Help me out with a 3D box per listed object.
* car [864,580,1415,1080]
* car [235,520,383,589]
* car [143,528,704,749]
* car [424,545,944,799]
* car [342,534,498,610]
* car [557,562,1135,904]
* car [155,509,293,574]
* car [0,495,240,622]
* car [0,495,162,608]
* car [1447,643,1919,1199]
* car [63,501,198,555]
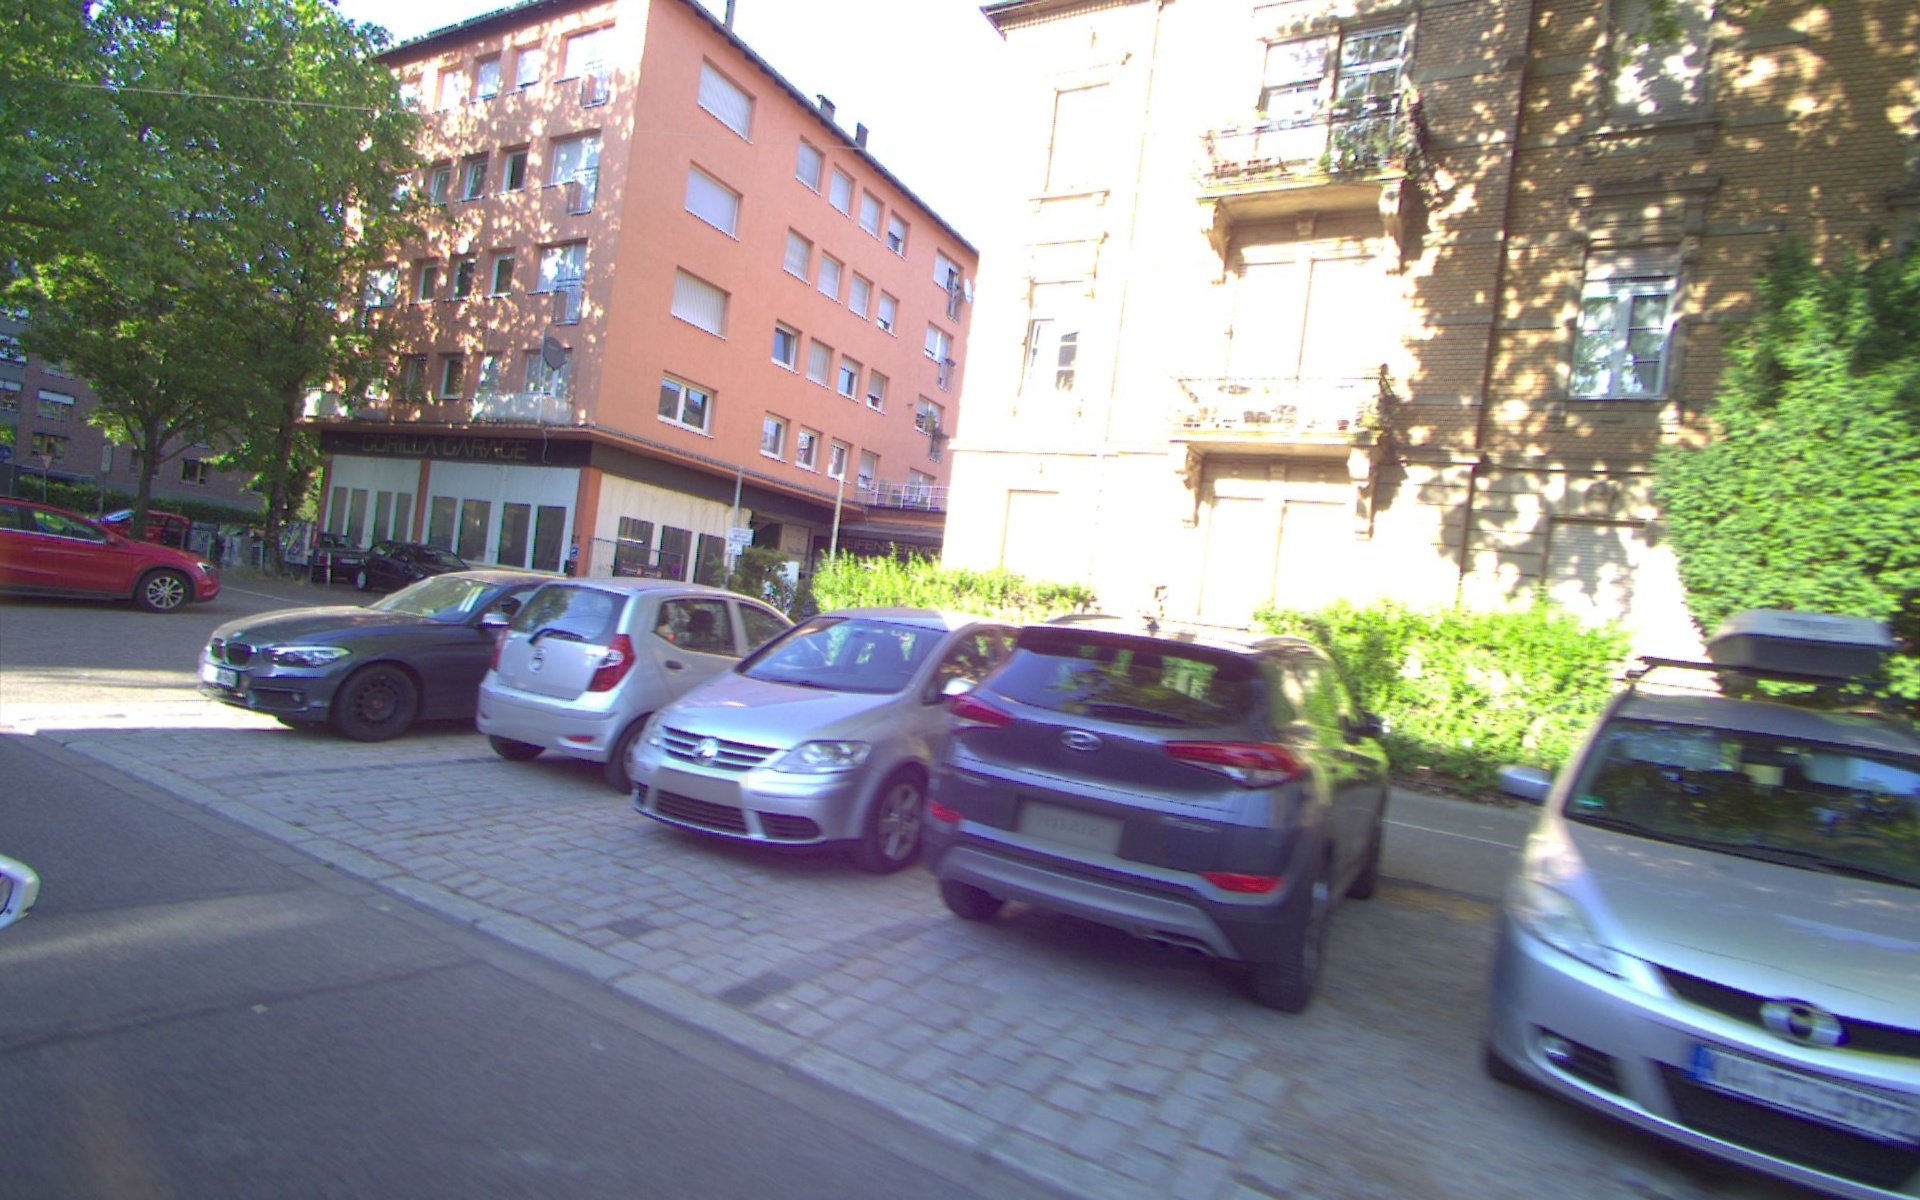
[{"bbox_3d":[1.445,0.989,5.925,1.846,1.638,4.210,7,-1,28],"label":"car"},{"bbox_3d":[-18.709,-1.310,28.864,4.393,1.452,1.751,7,0,31],"label":"car"},{"bbox_3d":[-4.637,0.419,9.400,1.787,1.465,4.208,7,-1,30],"label":"car"},{"bbox_3d":[-2.122,0.641,8.929,1.788,1.574,4.205,7,-1,33],"label":"car"},{"bbox_3d":[-14.057,-0.737,26.166,3.884,1.452,1.751,7,0,31],"label":"car"},{"bbox_3d":[-0.464,0.838,7.323,1.788,1.592,4.205,7,-1,33],"label":"car"},{"bbox_3d":[-25.087,-1.997,34.284,4.496,1.594,1.794,7,0,26],"label":"car"},{"bbox_3d":[-13.695,-0.705,14.926,1.920,1.561,4.409,7,-1,33],"label":"car"},{"bbox_3d":[-15.698,-0.940,15.929,1.790,1.561,4.403,7,-1,38],"label":"car"},{"bbox_3d":[3.571,1.231,4.585,1.788,1.638,4.205,7,-1,33],"label":"car"},{"bbox_3d":[-31.733,-2.714,38.588,1.655,1.470,3.545,7,-1,29],"label":"car"}]
